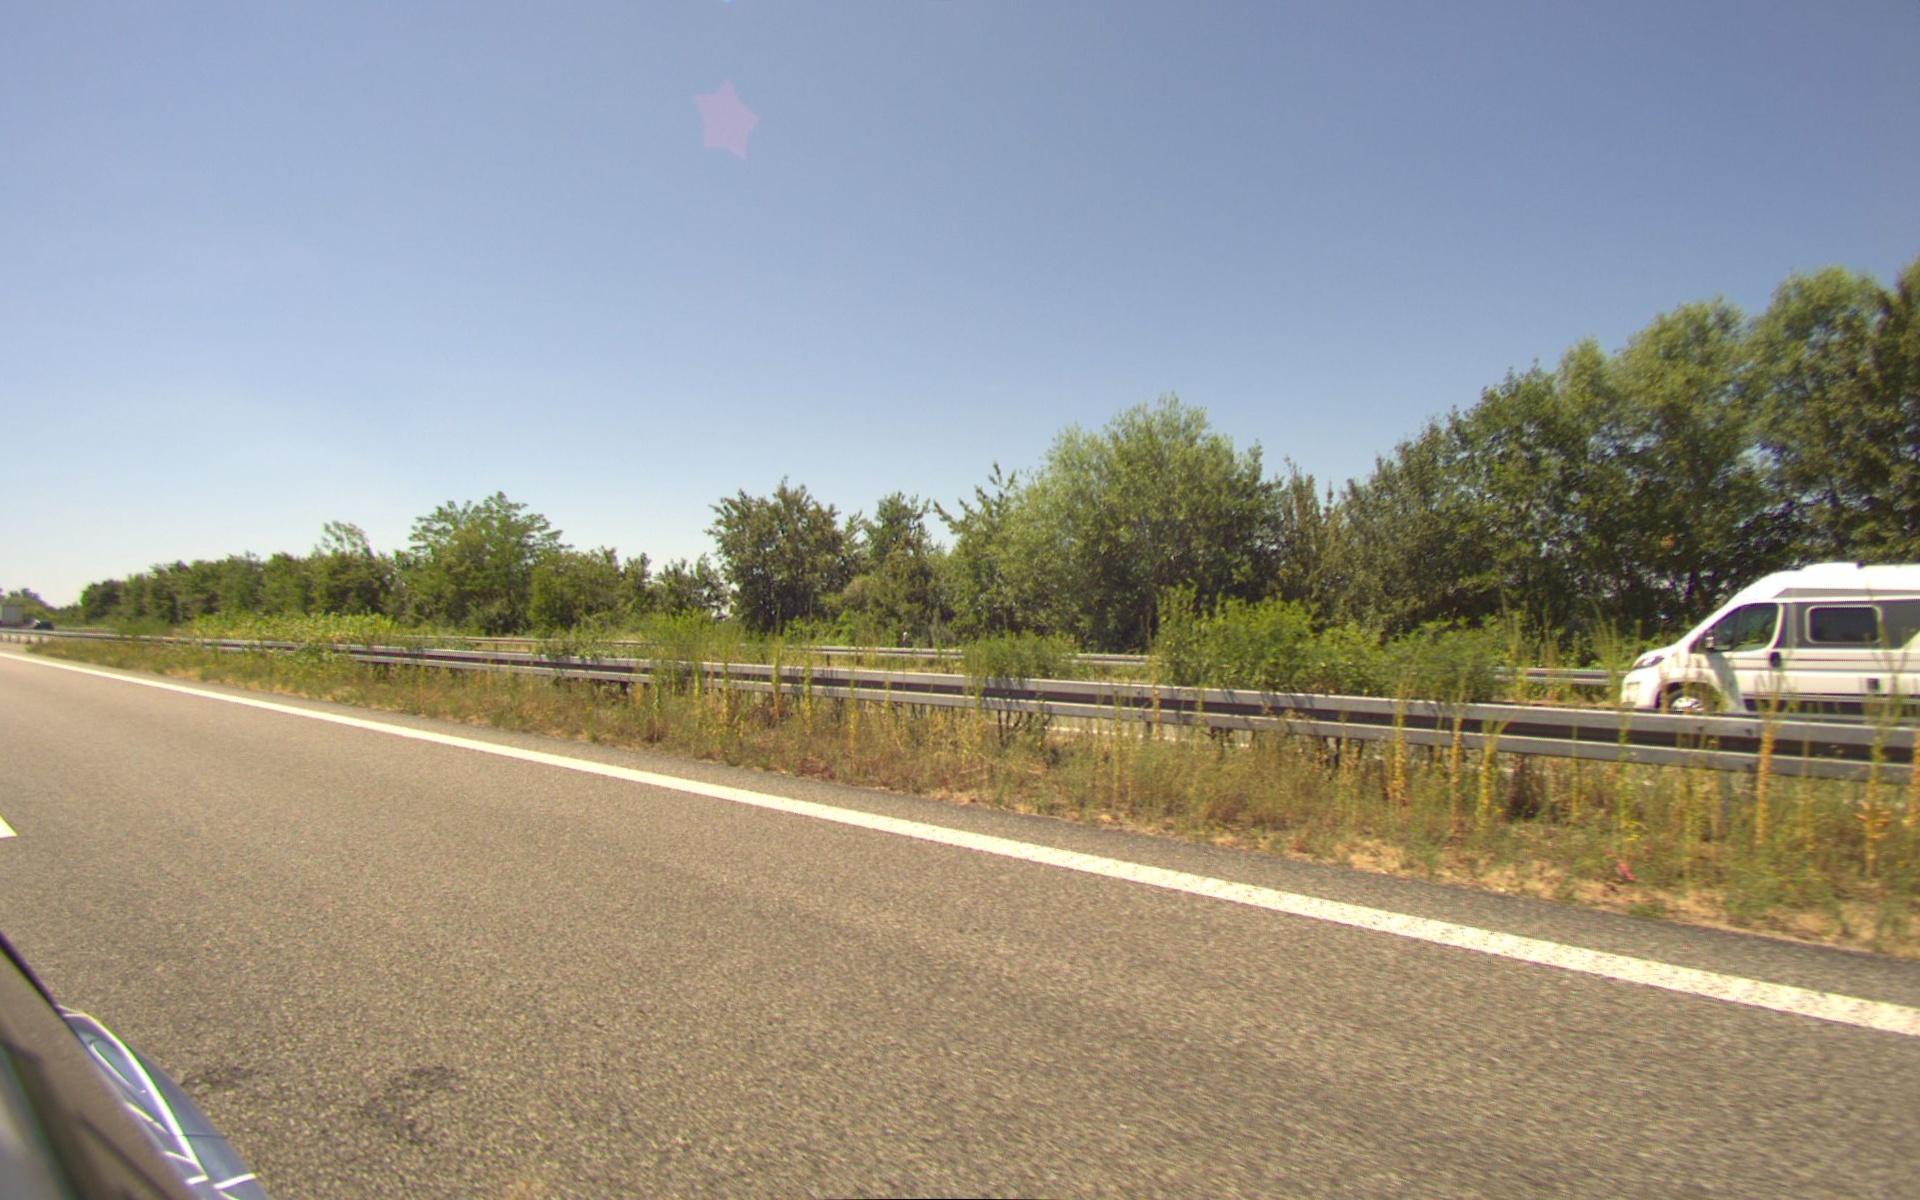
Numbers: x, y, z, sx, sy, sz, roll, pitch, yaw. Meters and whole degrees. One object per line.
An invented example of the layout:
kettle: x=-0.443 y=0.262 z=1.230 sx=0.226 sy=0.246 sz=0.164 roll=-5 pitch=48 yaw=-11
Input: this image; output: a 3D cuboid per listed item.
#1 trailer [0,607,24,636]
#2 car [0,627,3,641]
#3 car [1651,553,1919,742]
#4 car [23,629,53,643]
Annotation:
trailer: x=-148.862 y=3.453 z=157.325 sx=13.531 sy=4.218 sz=3.263 roll=-2 pitch=-3 yaw=41
car: x=-98.524 y=3.449 z=102.732 sx=4.044 sy=1.473 sz=1.537 roll=-1 pitch=-2 yaw=41
car: x=13.393 y=0.648 z=14.095 sx=6.012 sy=2.482 sz=2.081 roll=-1 pitch=-2 yaw=41
car: x=-99.896 y=3.898 z=109.600 sx=4.528 sy=1.412 sz=1.843 roll=-1 pitch=-3 yaw=41
